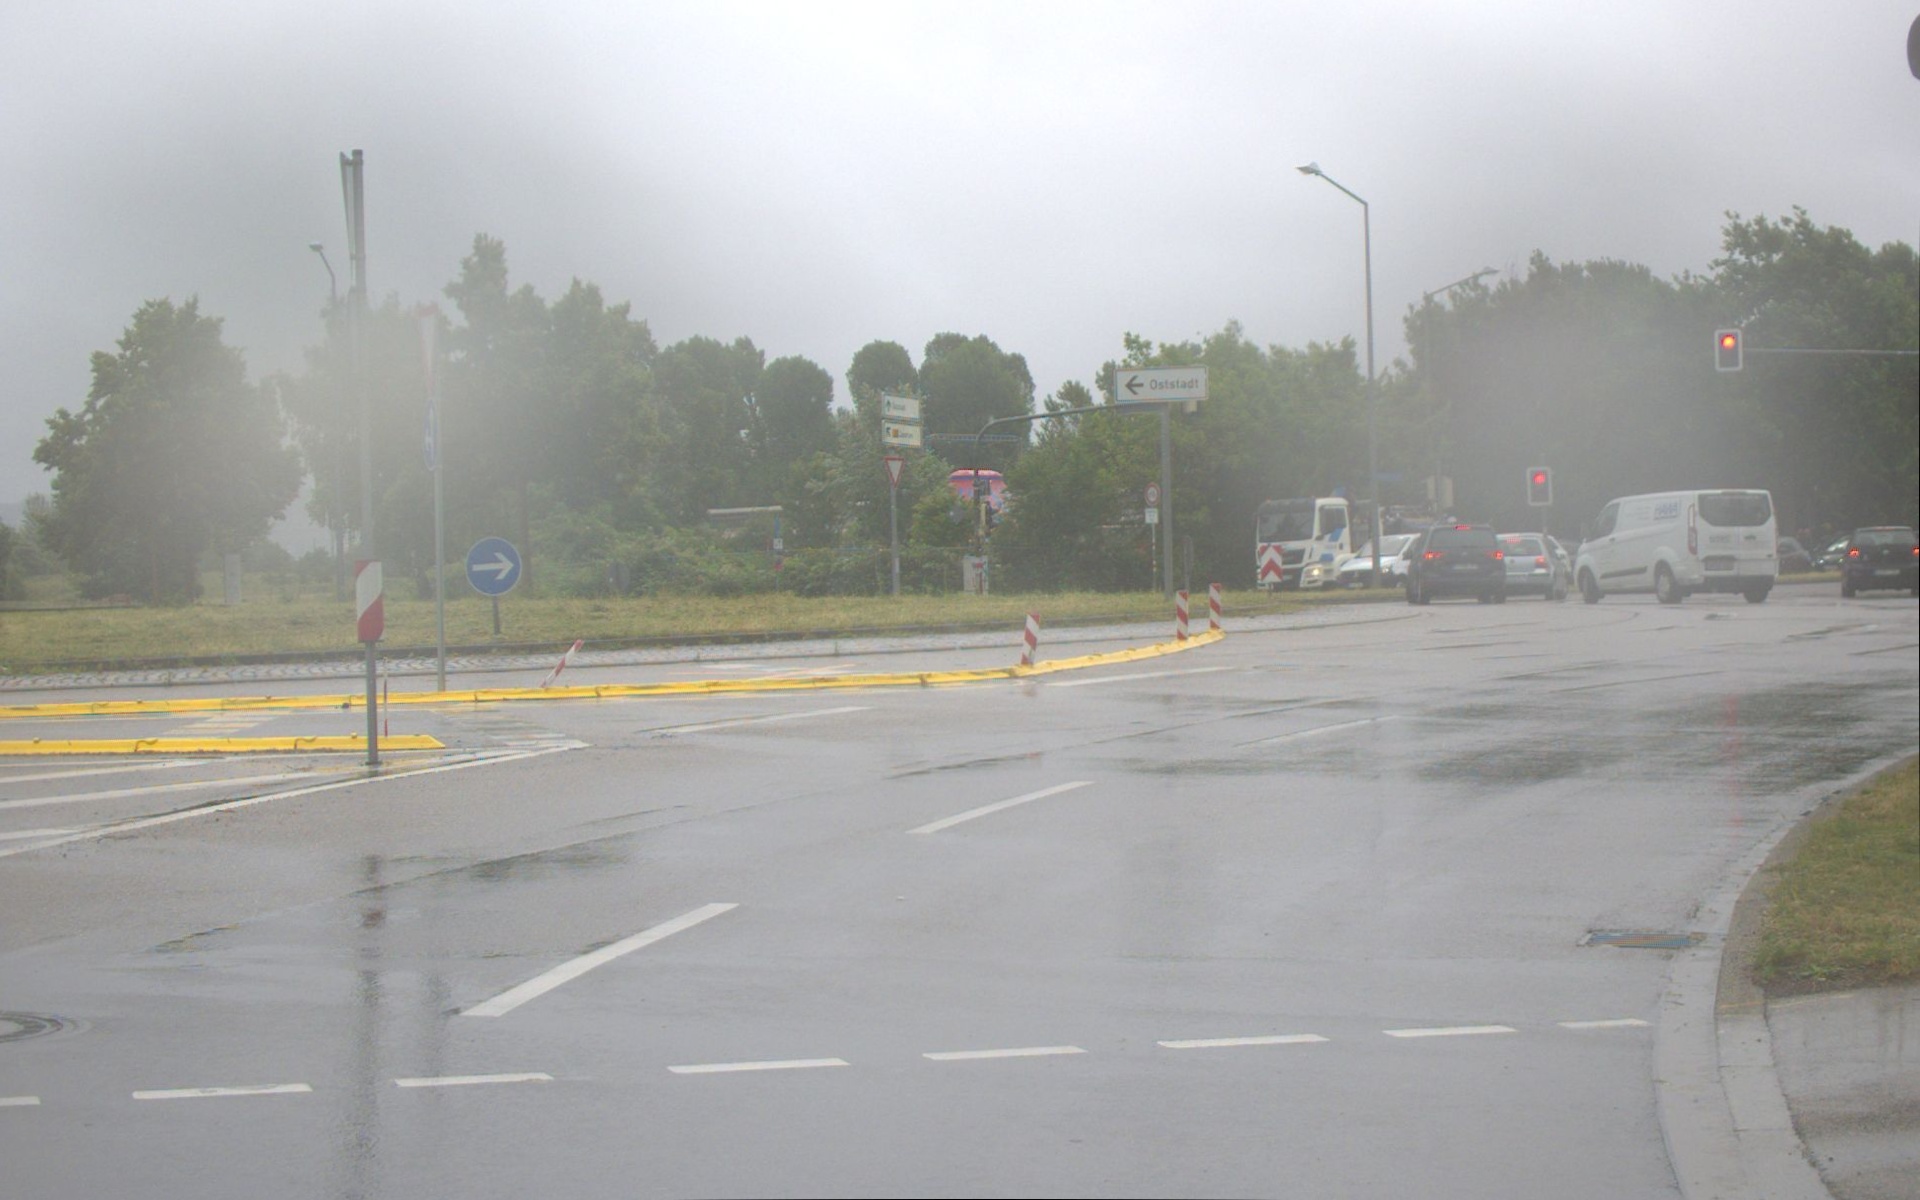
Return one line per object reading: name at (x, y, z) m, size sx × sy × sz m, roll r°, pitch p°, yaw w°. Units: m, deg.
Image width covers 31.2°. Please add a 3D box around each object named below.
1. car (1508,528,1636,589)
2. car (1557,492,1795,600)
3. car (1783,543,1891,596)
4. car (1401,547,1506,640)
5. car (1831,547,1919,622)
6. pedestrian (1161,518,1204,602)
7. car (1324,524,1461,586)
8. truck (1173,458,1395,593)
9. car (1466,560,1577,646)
car at (17.454, -1.166, 97.958) m, size 1.800 × 1.656 × 3.990 m, roll 1°, pitch 0°, yaw 41°
car at (12.852, -0.952, 62.033) m, size 1.993 × 1.845 × 4.777 m, roll 1°, pitch 0°, yaw -19°
car at (28.759, -0.997, 112.659) m, size 1.800 × 1.656 × 3.990 m, roll 1°, pitch 0°, yaw 41°
car at (10.290, -0.128, 71.409) m, size 1.994 × 1.845 × 4.774 m, roll 1°, pitch 0°, yaw 10°
car at (18.945, -0.342, 71.131) m, size 1.619 × 1.449 × 3.986 m, roll -1°, pitch 1°, yaw 12°
pedestrian at (3.515, -0.632, 54.310) m, size 0.453 × 1.300 × 0.485 m, roll -1°, pitch 1°, yaw 38°
car at (12.113, -1.250, 96.148) m, size 1.800 × 1.656 × 4.124 m, roll 1°, pitch 0°, yaw 41°
truck at (7.080, -1.539, 74.061) m, size 2.464 × 2.677 × 8.049 m, roll 1°, pitch 0°, yaw 23°
car at (12.632, 0.064, 77.151) m, size 1.995 × 1.845 × 4.772 m, roll 1°, pitch 0°, yaw 15°
